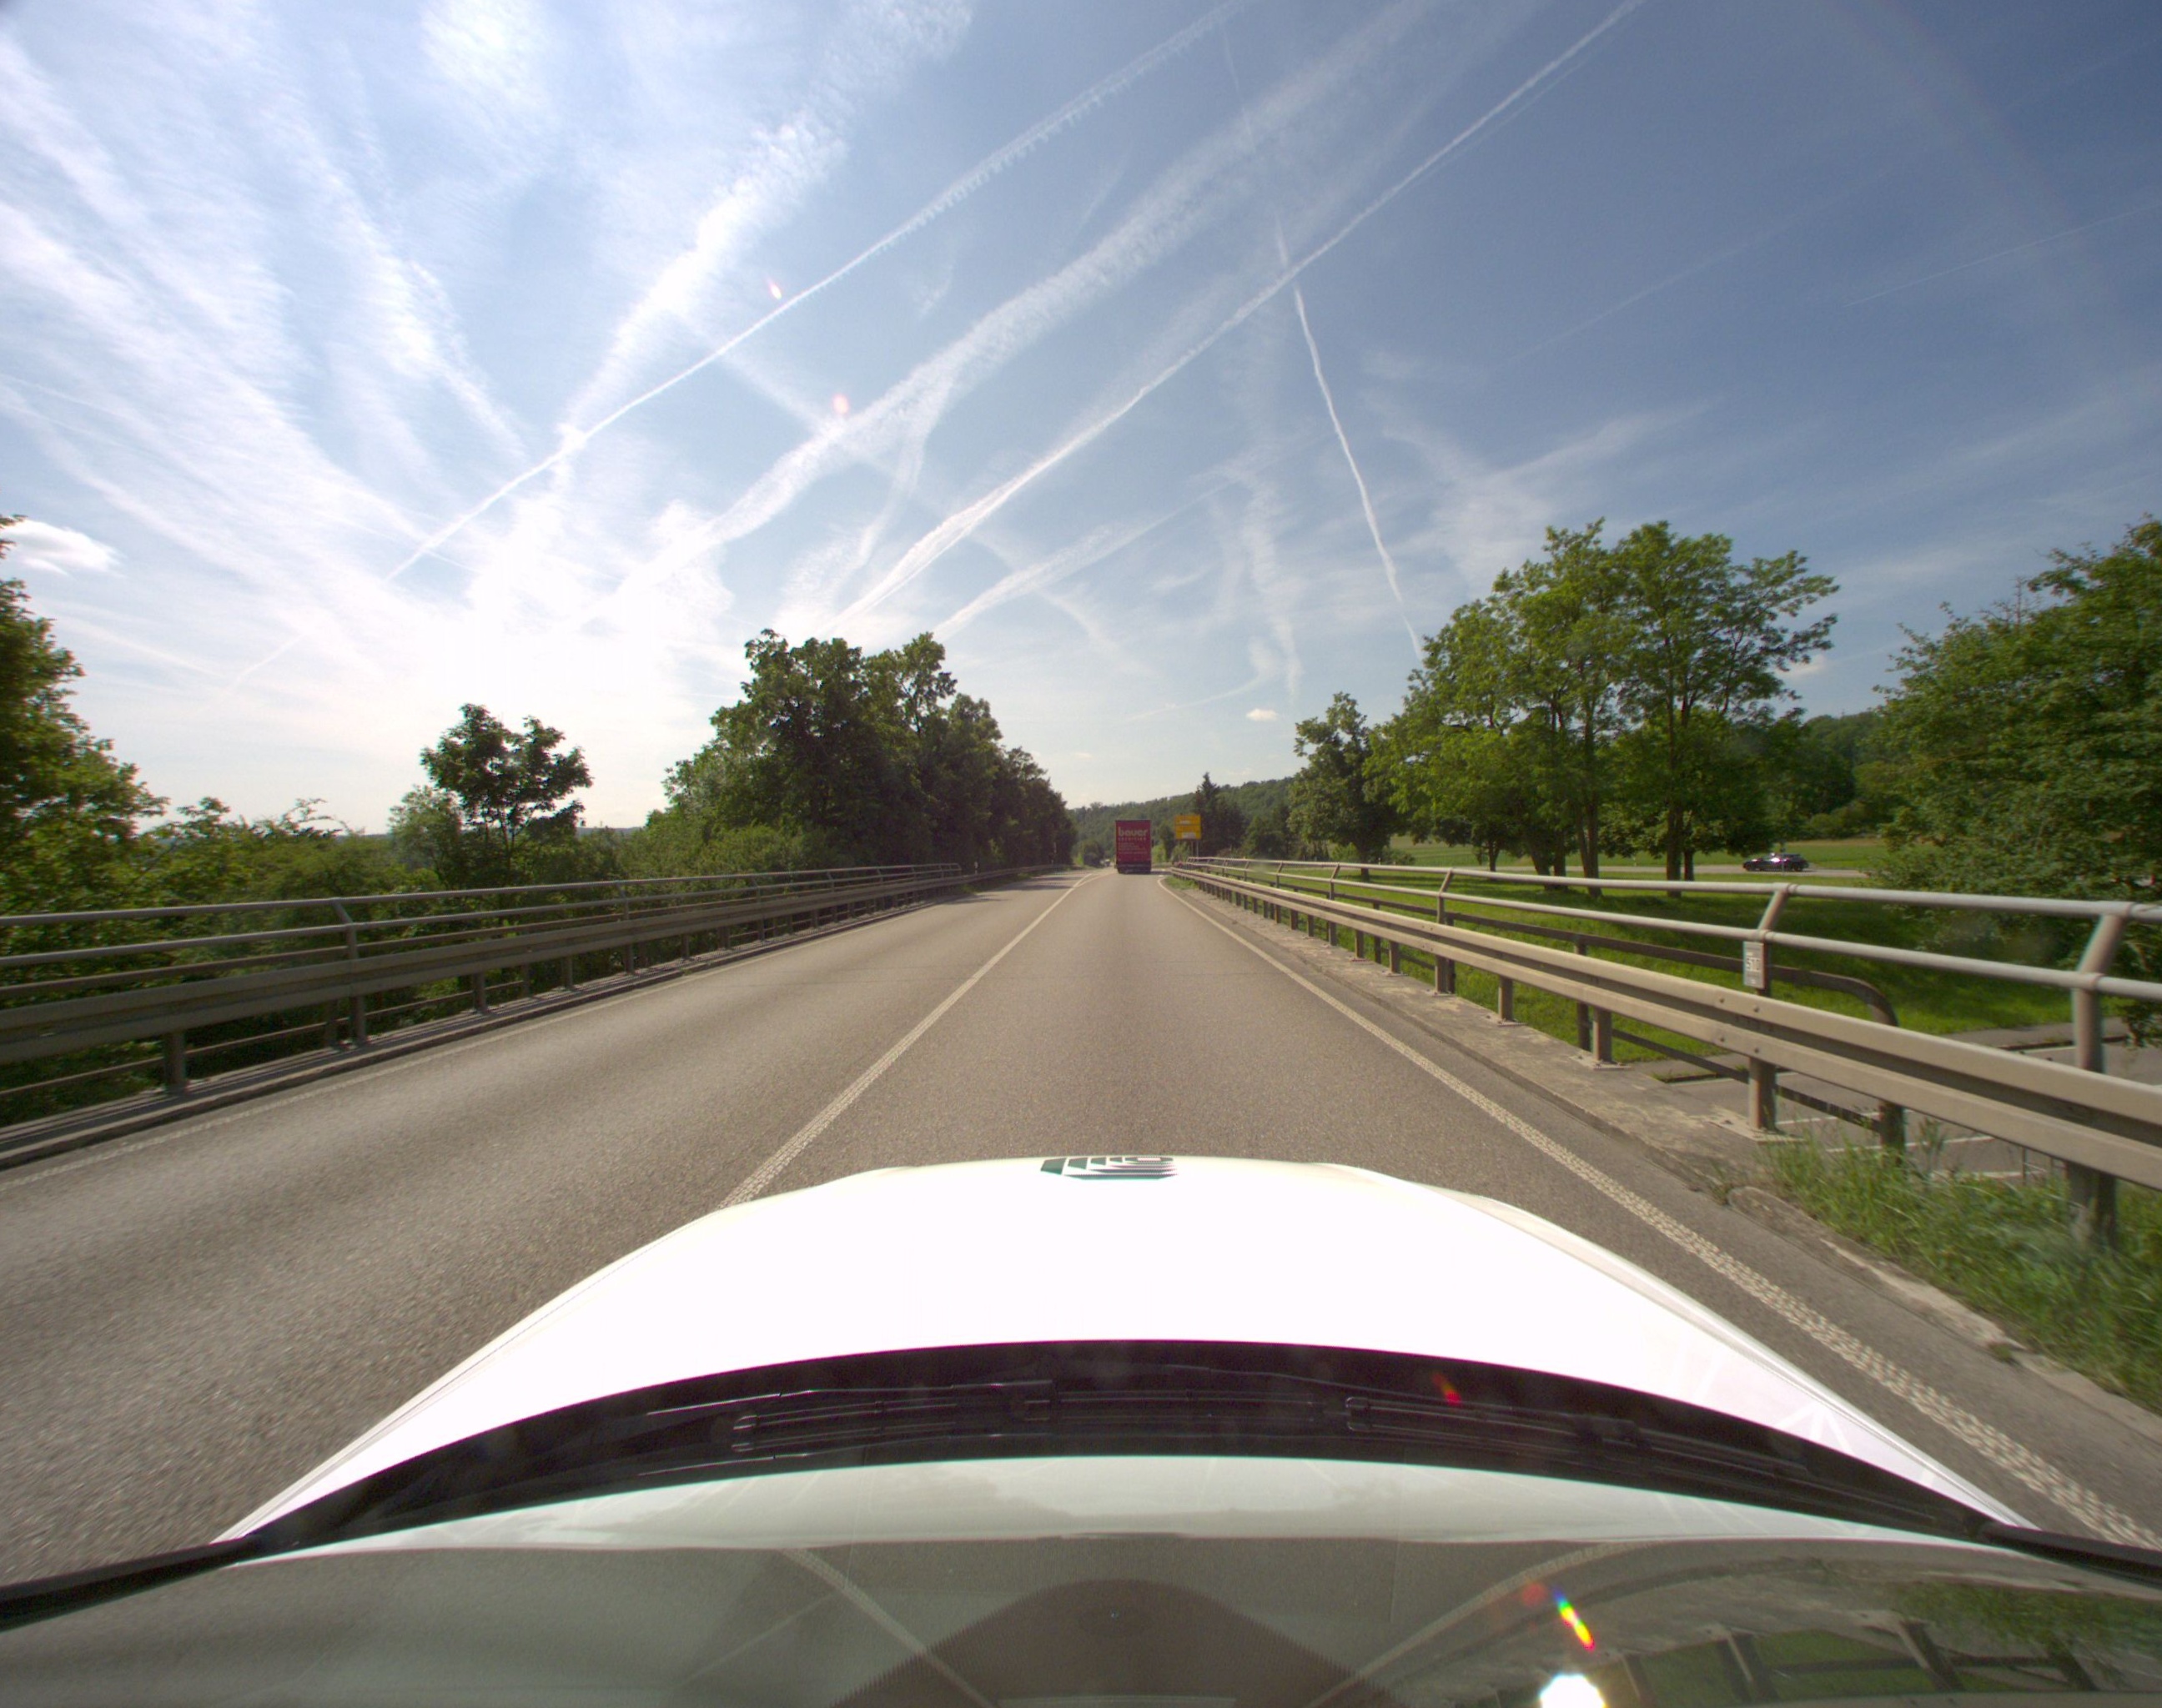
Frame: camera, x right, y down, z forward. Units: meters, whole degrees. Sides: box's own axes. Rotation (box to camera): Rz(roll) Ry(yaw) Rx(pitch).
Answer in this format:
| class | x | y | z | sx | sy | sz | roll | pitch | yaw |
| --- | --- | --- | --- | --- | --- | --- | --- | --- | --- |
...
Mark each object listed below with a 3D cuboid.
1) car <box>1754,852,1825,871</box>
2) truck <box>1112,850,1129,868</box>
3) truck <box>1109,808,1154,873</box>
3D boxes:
| class | x | y | z | sx | sy | sz | roll | pitch | yaw |
| --- | --- | --- | --- | --- | --- | --- | --- | --- | --- |
| car | 62.679 | 0.614 | 72.166 | 2.061 | 1.589 | 4.407 | -1 | 1 | -15 |
| truck | 10.210 | 1.472 | 211.583 | 3.891 | 4.370 | 13.292 | 1 | -1 | 1 |
| truck | 4.008 | -1.021 | 64.920 | 3.159 | 4.625 | 13.556 | -1 | 0 | 3 |
